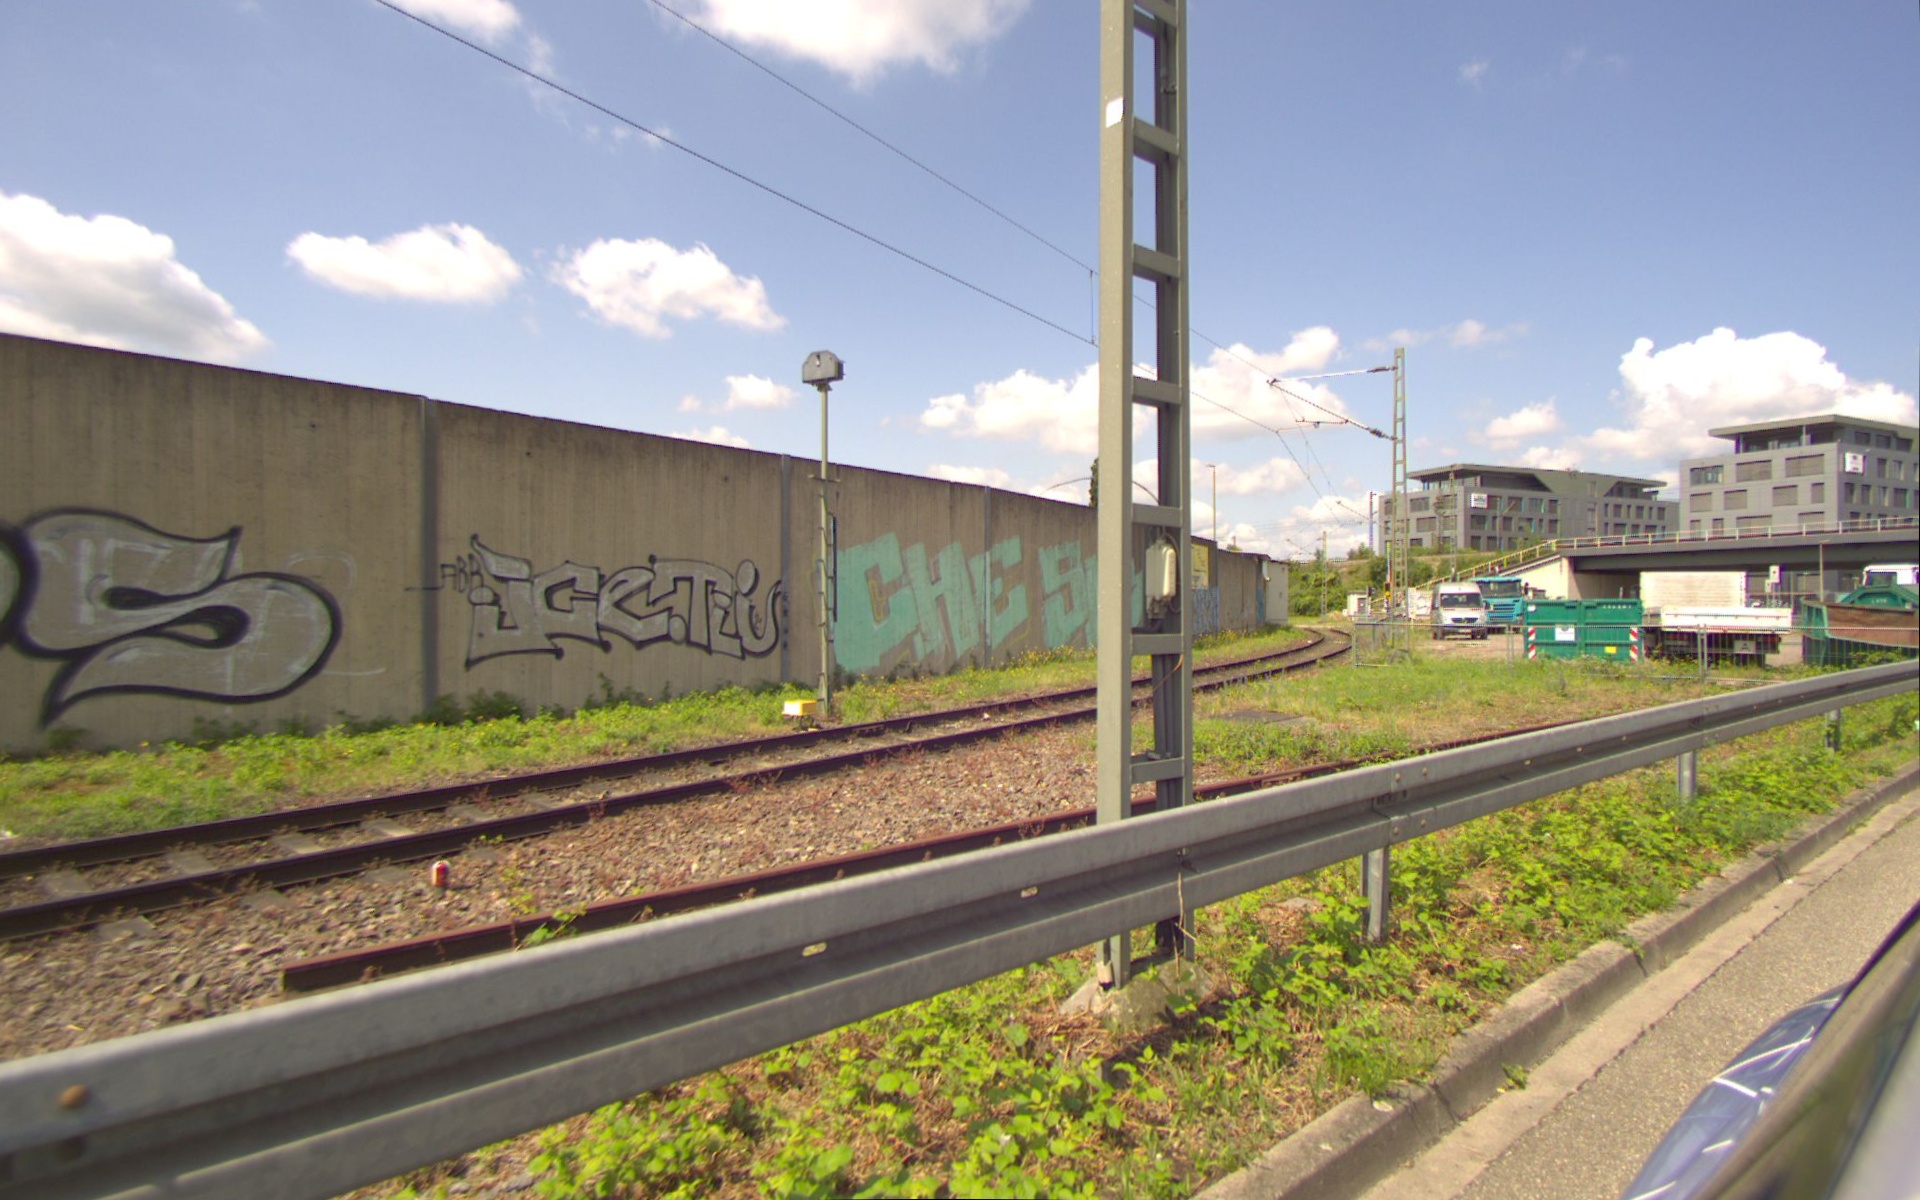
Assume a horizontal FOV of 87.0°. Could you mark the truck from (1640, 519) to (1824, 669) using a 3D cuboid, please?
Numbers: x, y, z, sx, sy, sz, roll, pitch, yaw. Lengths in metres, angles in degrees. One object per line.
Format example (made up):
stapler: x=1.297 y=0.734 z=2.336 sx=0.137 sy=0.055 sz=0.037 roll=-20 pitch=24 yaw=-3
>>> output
truck: x=20.722 y=-0.182 z=27.662 sx=2.970 sy=3.462 sz=8.027 roll=0 pitch=0 yaw=30

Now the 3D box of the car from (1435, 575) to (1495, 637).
car: x=22.839 y=0.235 z=45.965 sx=2.044 sy=2.559 sz=5.835 roll=-2 pitch=-1 yaw=24

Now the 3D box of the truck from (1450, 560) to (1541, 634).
truck: x=29.120 y=-0.197 z=55.311 sx=2.616 sy=3.692 sz=6.859 roll=-3 pitch=0 yaw=14

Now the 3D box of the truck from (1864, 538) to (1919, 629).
truck: x=34.479 y=-0.582 z=34.197 sx=1.959 sy=3.137 sz=5.523 roll=0 pitch=0 yaw=-26
